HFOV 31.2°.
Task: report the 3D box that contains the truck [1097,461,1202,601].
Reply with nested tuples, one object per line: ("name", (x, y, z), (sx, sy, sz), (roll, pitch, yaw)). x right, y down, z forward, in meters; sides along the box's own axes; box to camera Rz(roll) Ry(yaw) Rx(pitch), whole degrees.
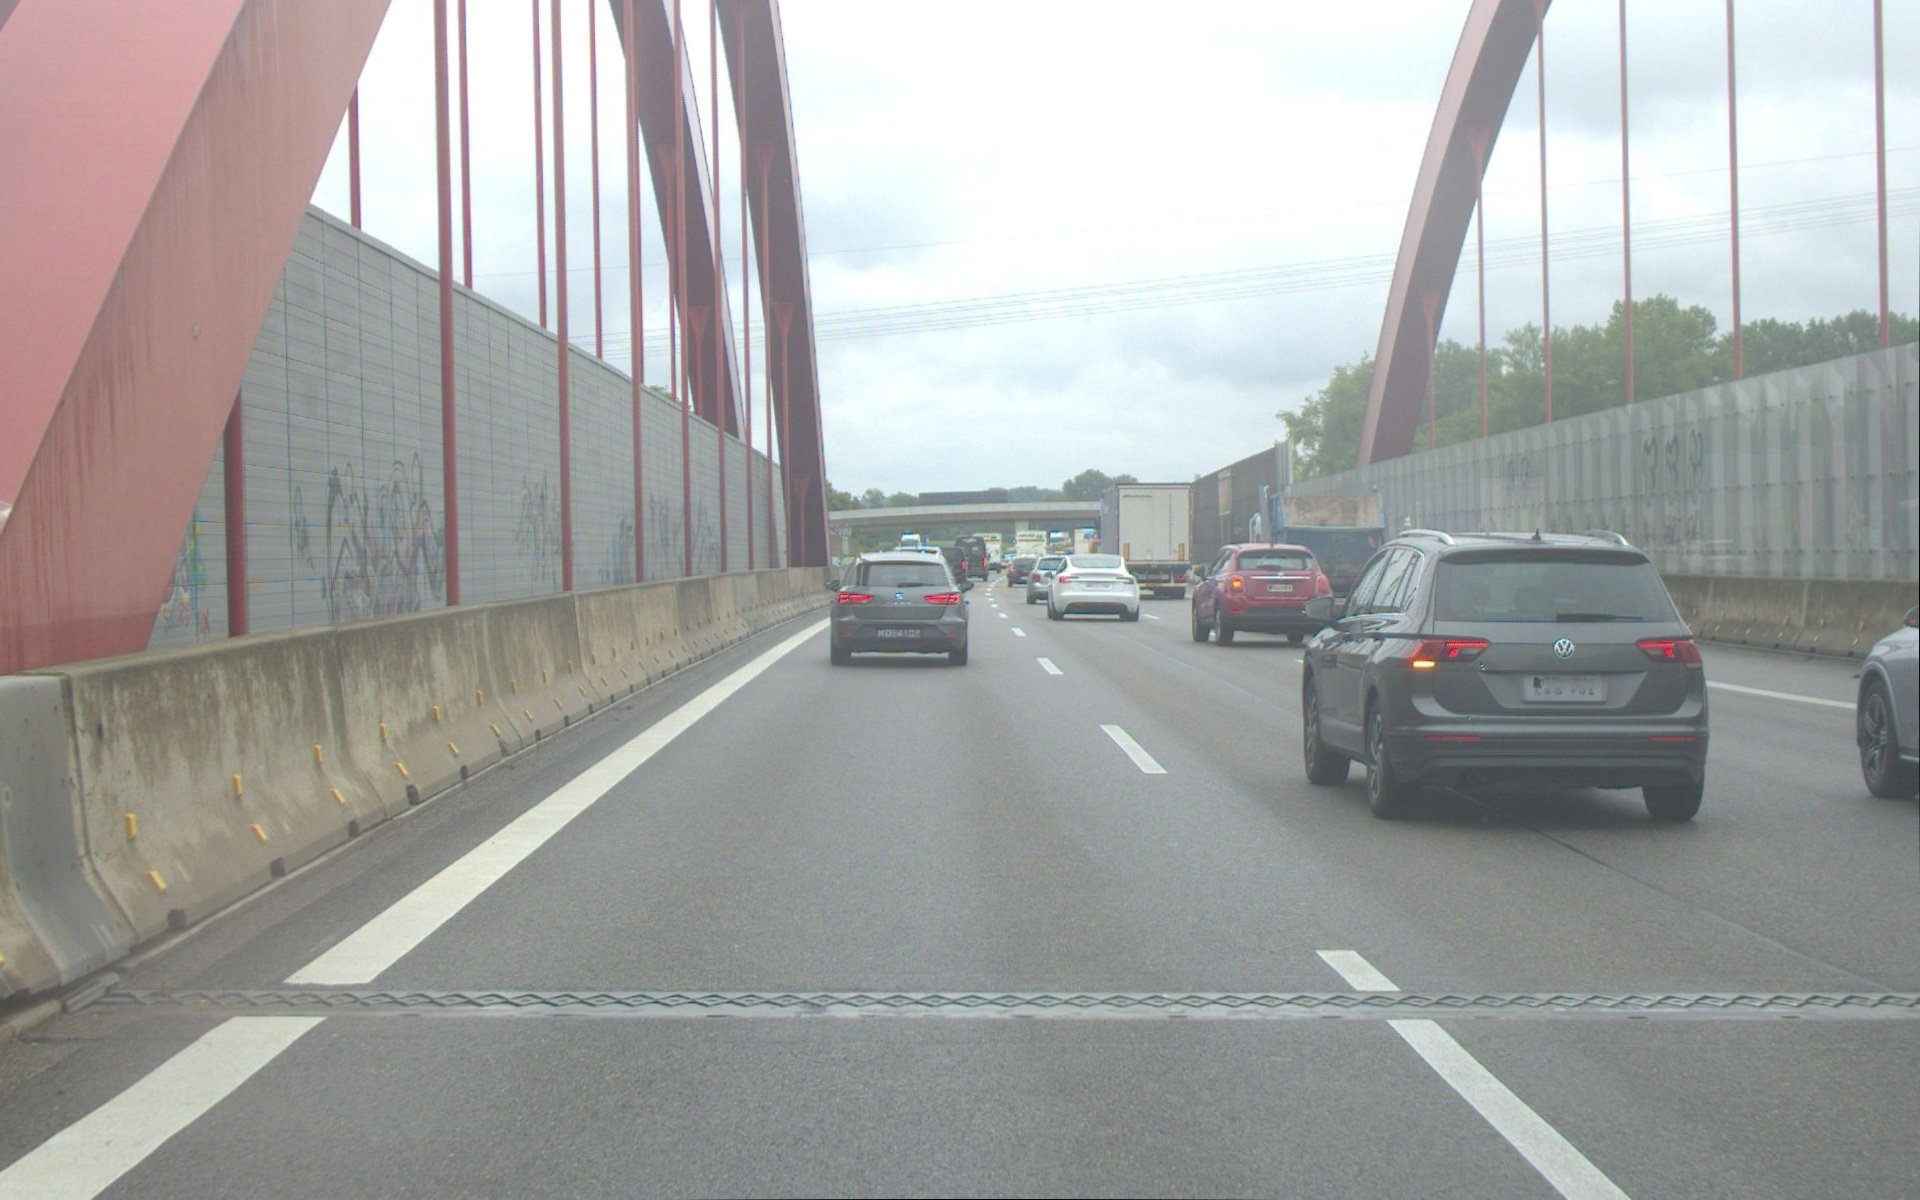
("truck", (6.578, -2.386, 120.388), (3.044, 4.718, 7.680), (1, 1, -1))

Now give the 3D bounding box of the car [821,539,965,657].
("car", (-0.839, -0.060, 44.175), (1.763, 1.448, 4.000), (0, 1, -1))

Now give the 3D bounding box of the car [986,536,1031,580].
("car", (2.283, -2.004, 163.081), (1.993, 2.007, 4.000), (1, 1, -1))

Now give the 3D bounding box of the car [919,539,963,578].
("car", (-0.898, -1.948, 160.568), (1.993, 1.809, 4.000), (0, 1, -1))

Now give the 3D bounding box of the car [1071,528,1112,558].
("car", (6.777, -2.949, 177.349), (1.993, 1.514, 4.000), (0, 1, 0))

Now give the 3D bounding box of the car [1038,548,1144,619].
("car", (2.774, -0.377, 73.716), (1.993, 1.481, 4.000), (0, 1, -2))

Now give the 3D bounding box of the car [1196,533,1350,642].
("car", (4.898, -0.221, 54.295), (1.957, 1.641, 4.000), (0, 1, -2))

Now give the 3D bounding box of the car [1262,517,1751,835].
("car", (3.059, 0.366, 20.131), (1.911, 1.664, 4.105), (0, 1, -5))

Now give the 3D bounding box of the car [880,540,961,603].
("car", (-0.925, -0.668, 78.095), (1.781, 1.401, 3.626), (0, 1, -1))

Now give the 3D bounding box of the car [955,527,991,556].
("car", (0.776, -3.375, 198.134), (1.993, 1.618, 4.000), (0, 1, 1))

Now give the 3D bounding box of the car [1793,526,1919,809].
("car", (6.488, 0.397, 19.663), (1.993, 1.613, 5.328), (1, 1, -2))

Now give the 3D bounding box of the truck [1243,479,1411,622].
("truck", (6.728, -0.928, 63.659), (2.361, 2.498, 6.144), (0, 1, -1))

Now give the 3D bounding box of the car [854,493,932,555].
("car", (-1.819, -2.040, 92.432), (1.993, 1.579, 4.001), (-1, 1, -2))

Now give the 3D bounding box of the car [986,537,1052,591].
("car", (1.717, -1.068, 101.091), (1.702, 1.538, 3.839), (0, 1, -3))
